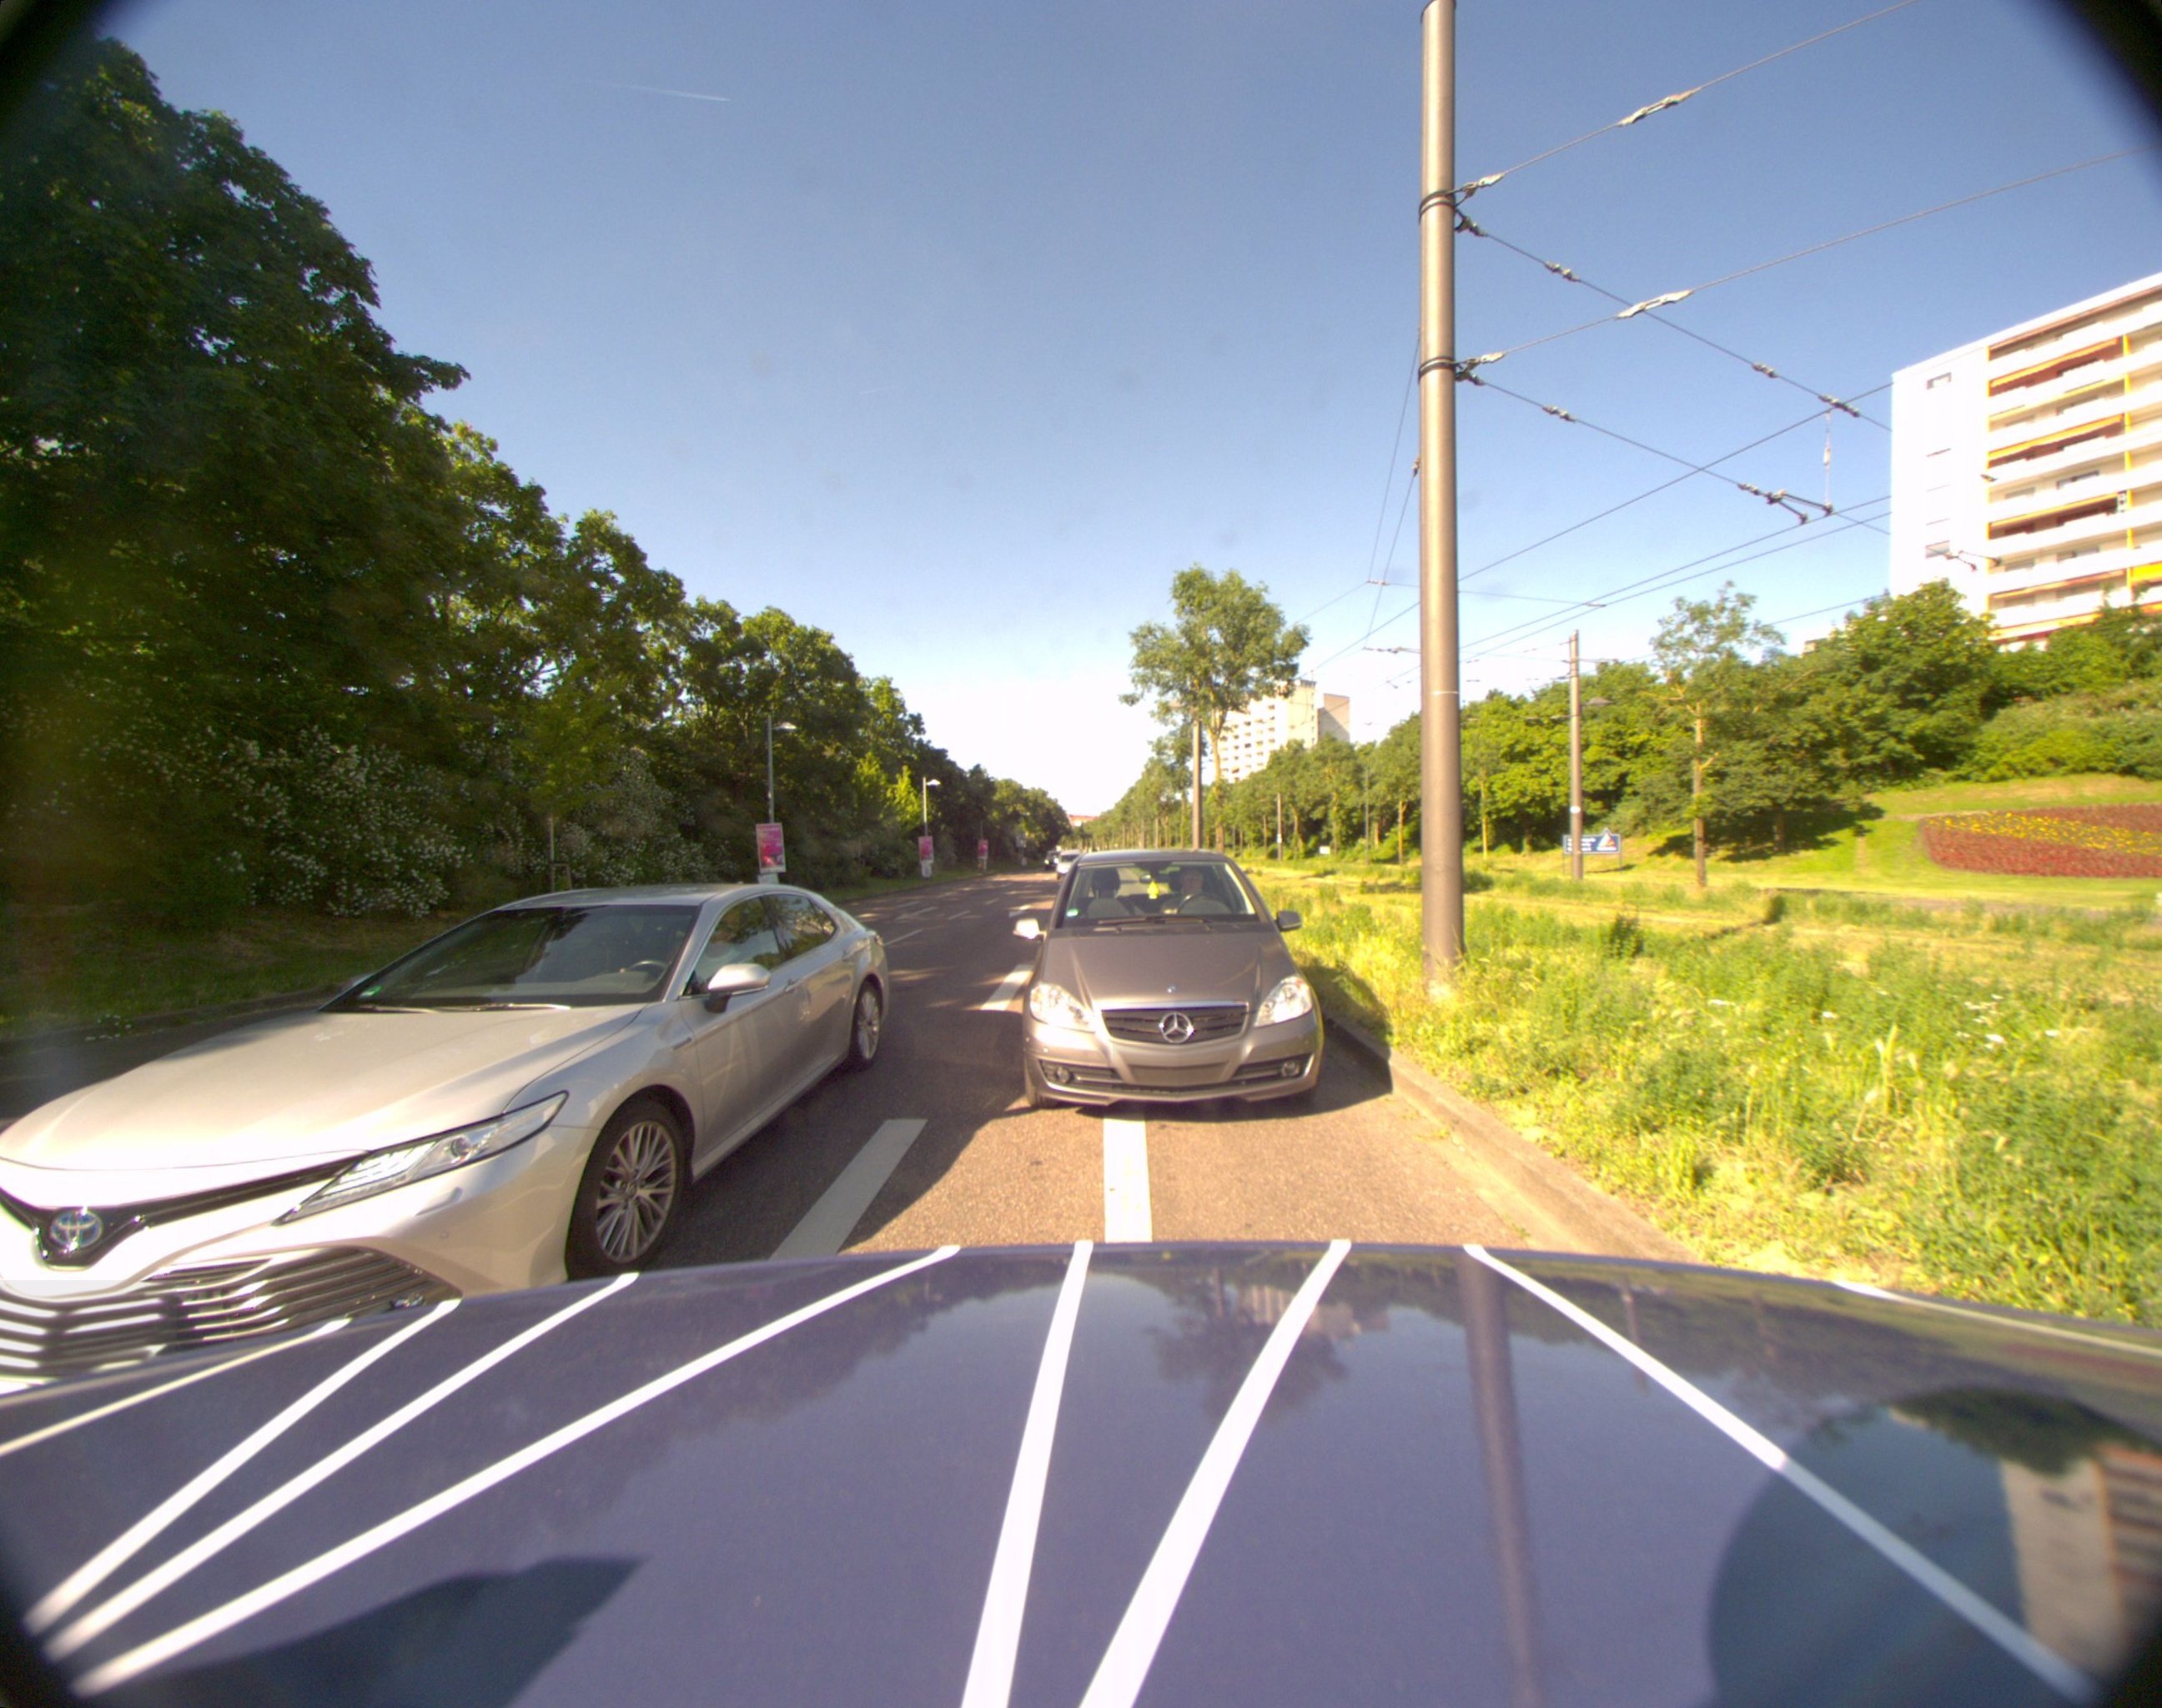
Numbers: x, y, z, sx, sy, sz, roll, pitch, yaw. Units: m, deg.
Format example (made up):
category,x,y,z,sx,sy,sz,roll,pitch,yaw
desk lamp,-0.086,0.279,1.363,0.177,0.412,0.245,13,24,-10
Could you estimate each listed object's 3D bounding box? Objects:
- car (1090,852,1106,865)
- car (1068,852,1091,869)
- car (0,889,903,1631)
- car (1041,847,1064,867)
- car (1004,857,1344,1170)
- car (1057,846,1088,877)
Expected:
category,x,y,z,sx,sy,sz,roll,pitch,yaw
car,2.032,0.500,89.435,1.776,1.395,4.067,-1,0,2
car,-0.106,0.516,66.143,1.776,1.395,4.067,-1,0,2
car,-2.639,1.049,4.122,2.069,1.451,4.749,-1,0,2
car,-2.854,0.305,76.676,1.998,1.882,5.148,-1,0,1
car,0.521,0.856,6.206,1.777,1.597,4.384,-1,0,1
car,-0.492,0.442,49.587,1.822,1.893,4.622,-1,0,2
